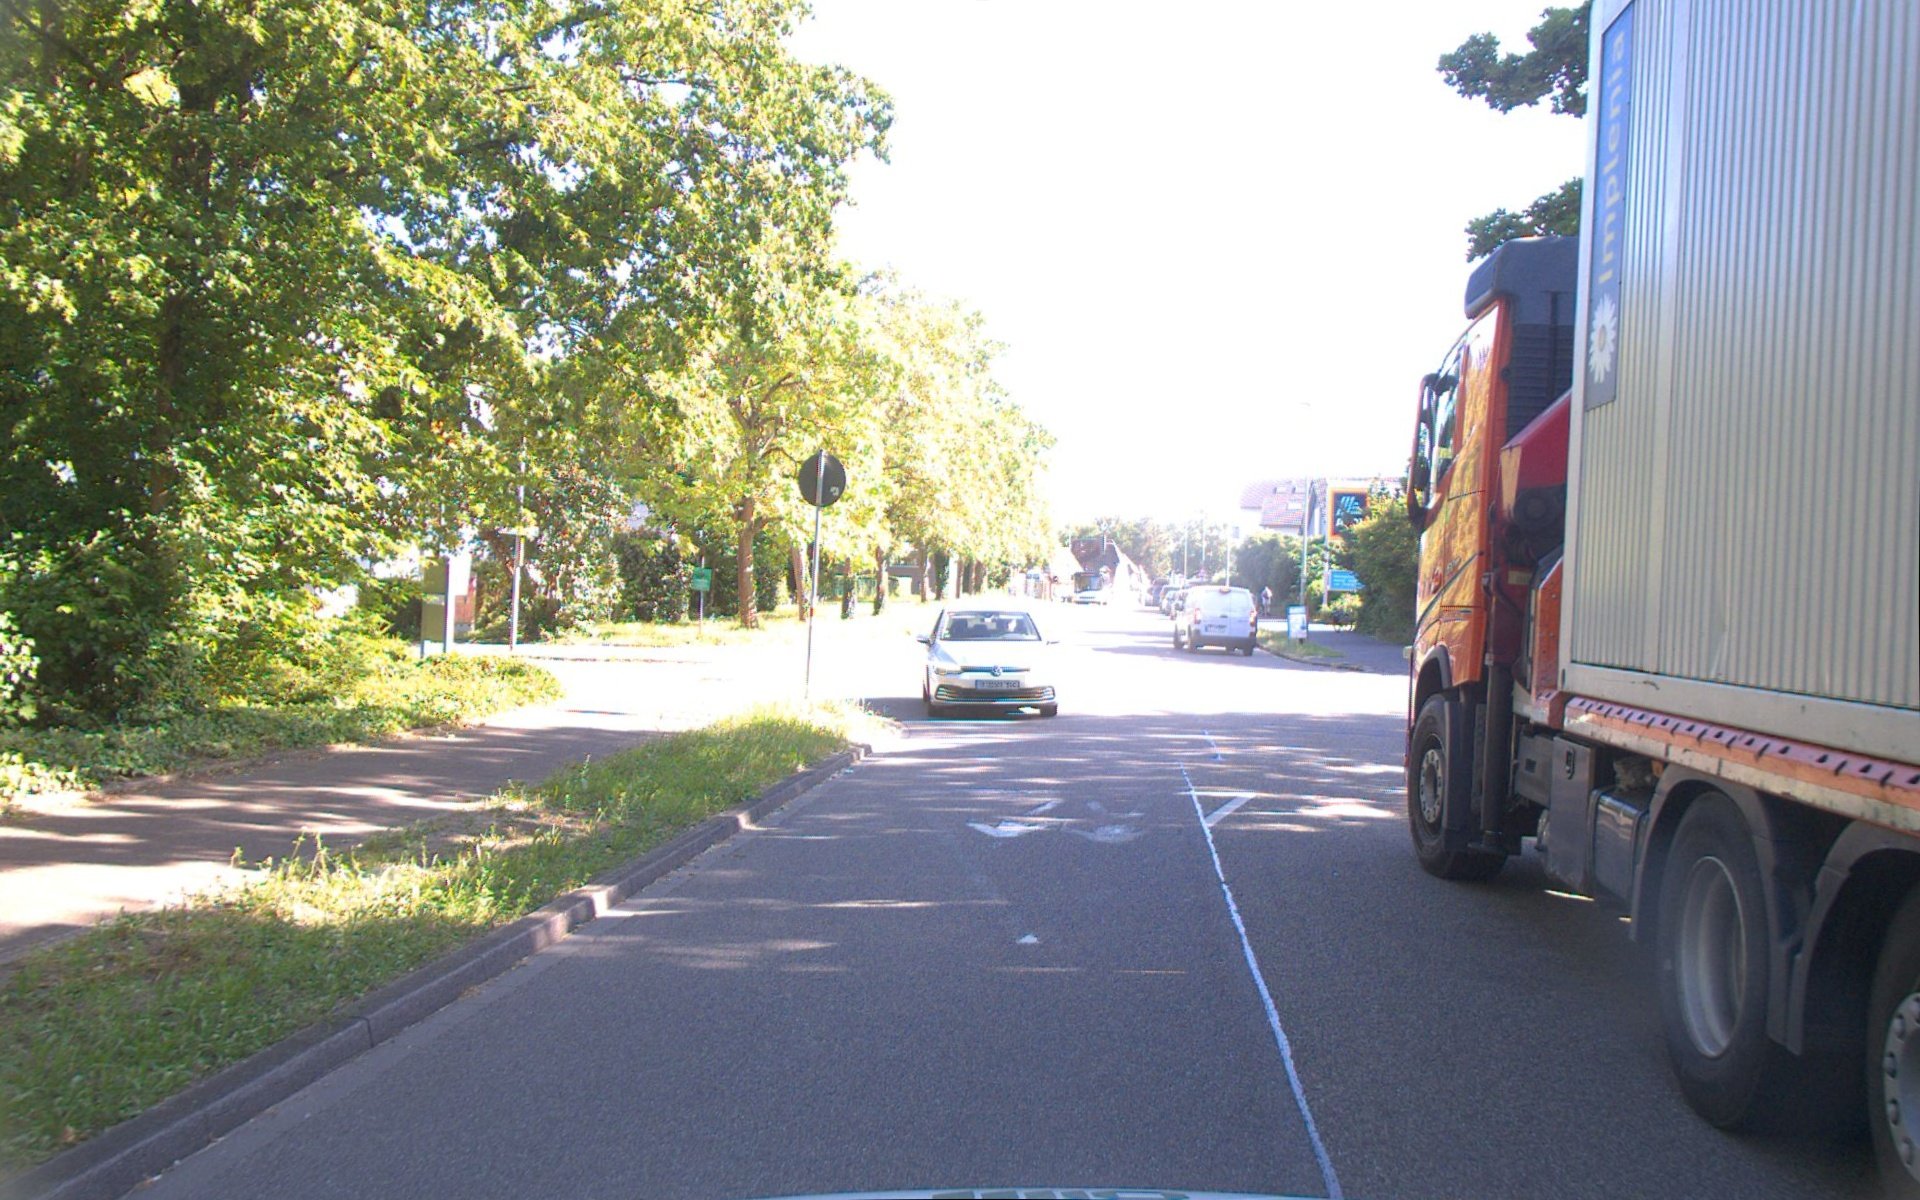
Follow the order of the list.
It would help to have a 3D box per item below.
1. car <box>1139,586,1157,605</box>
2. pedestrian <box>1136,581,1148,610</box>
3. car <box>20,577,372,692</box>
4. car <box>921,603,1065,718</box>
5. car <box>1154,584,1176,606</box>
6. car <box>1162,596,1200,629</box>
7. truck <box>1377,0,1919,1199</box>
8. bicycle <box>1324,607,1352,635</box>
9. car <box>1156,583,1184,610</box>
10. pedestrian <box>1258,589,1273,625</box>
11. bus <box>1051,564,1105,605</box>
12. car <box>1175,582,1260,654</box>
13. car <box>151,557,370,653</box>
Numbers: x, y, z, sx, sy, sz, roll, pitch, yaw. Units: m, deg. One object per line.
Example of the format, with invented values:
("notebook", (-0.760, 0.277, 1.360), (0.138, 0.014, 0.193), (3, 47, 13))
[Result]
("car", (19.247, -0.456, 169.297), (1.743, 1.840, 4.002), (1, 0, 5))
("pedestrian", (14.052, -0.332, 127.785), (0.736, 2.150, 0.799), (3, 0, 8))
("car", (-10.313, 0.443, 22.458), (4.021, 1.419, 1.679), (1, 0, 7))
("car", (0.376, 0.769, 23.061), (1.769, 1.445, 3.957), (0, 0, -2))
("car", (17.697, -0.430, 143.022), (1.743, 1.840, 4.002), (1, 0, 5))
("car", (11.698, 0.630, 87.690), (1.743, 1.681, 4.002), (1, 0, 5))
("truck", (3.756, -0.495, 5.907), (2.714, 4.065, 10.355), (3, 0, 6))
("bicycle", (14.967, 0.851, 65.465), (0.624, 1.044, 2.163), (3, 0, 23))
("car", (14.723, -0.237, 116.123), (1.743, 1.840, 4.002), (1, 0, 5))
("pedestrian", (17.654, 0.410, 95.567), (0.628, 2.048, 0.701), (3, 0, -1))
("bus", (10.263, -1.332, 142.630), (3.978, 3.407, 9.808), (1, 0, 8))
("car", (7.225, 0.471, 46.696), (1.906, 1.875, 4.001), (2, 0, 3))
("car", (-15.015, 0.105, 35.590), (4.021, 1.998, 1.679), (0, 0, 7))
